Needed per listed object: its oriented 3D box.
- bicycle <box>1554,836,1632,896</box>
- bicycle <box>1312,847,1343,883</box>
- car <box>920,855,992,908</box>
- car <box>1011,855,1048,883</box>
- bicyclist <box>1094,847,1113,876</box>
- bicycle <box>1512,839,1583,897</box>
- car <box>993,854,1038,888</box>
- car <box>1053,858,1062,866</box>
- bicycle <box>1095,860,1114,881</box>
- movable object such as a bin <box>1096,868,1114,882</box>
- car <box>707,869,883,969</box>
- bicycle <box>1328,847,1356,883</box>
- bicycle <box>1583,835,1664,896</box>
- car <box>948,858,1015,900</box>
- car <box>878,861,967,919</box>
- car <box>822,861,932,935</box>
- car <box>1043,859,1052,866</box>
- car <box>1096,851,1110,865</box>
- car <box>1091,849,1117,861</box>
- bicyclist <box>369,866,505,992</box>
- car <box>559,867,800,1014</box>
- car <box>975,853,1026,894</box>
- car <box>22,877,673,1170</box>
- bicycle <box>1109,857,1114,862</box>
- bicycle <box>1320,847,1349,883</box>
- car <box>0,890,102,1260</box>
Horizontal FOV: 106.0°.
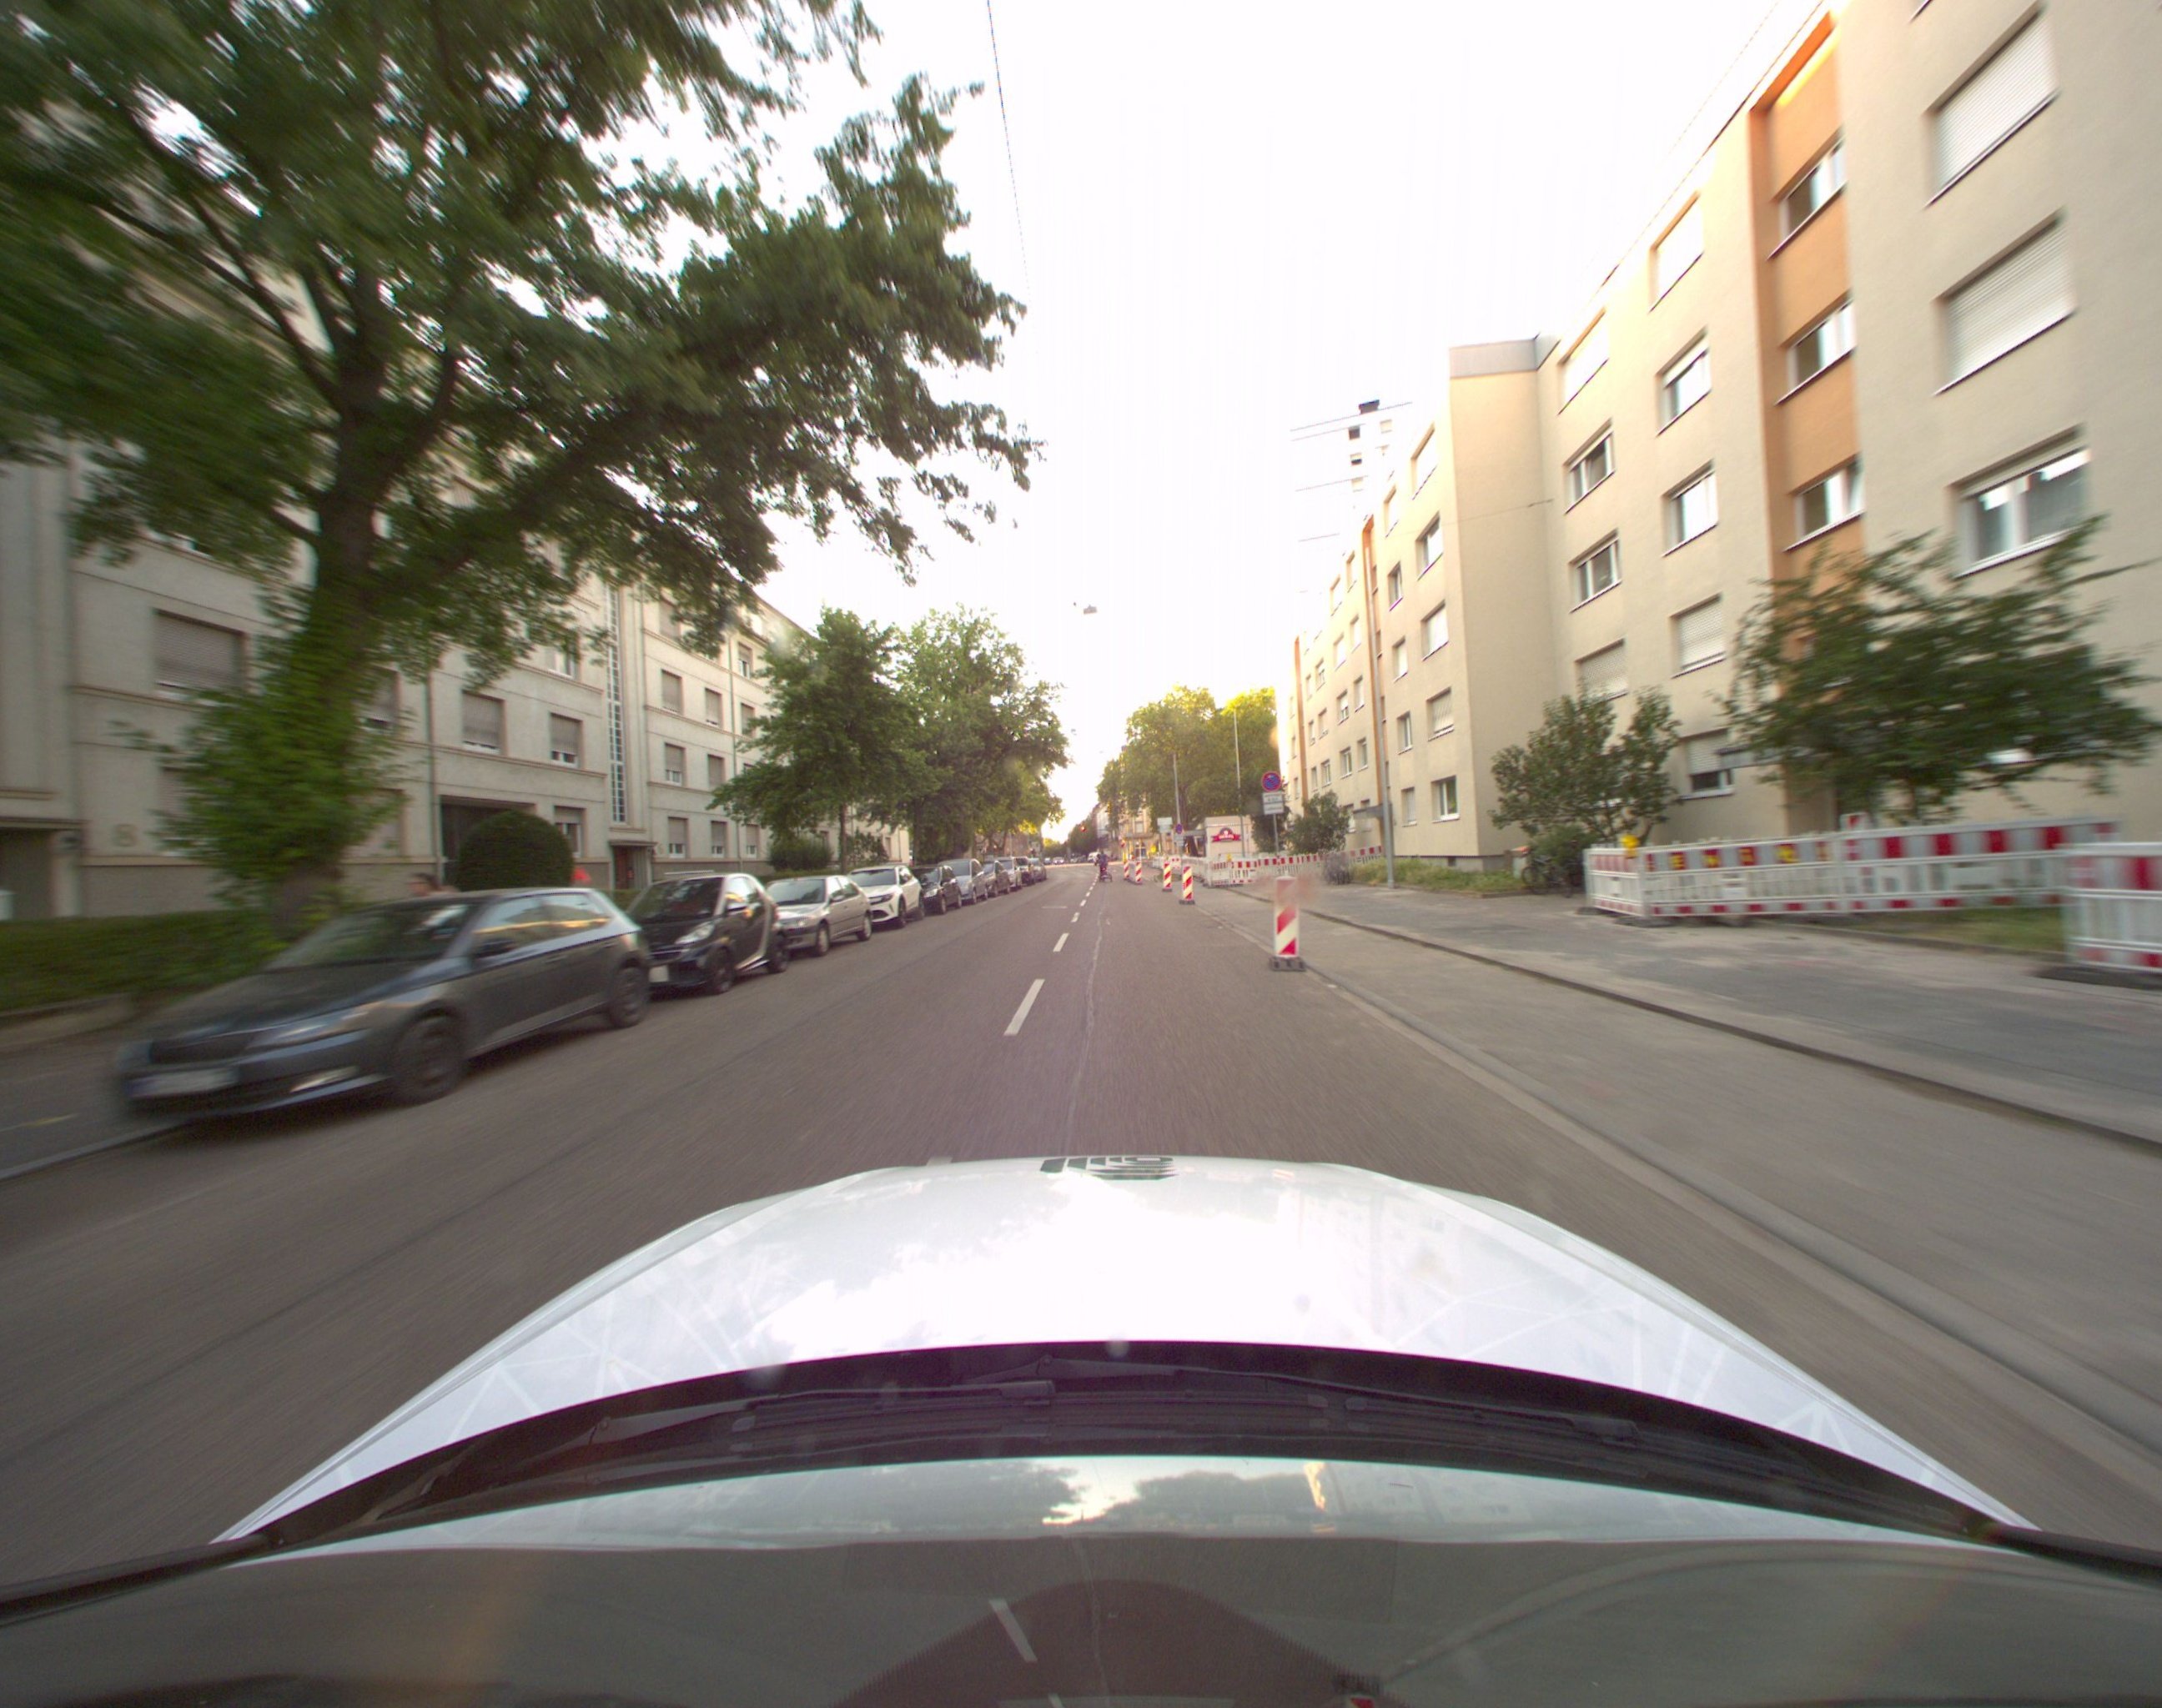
[{"bbox_3d":[10.642,0.244,16.999,0.553,1.172,1.819,-3,0,5],"label":"bicycle"},{"bbox_3d":[8.804,0.399,29.144,0.450,1.222,1.911,-3,0,0],"label":"bicycle"},{"bbox_3d":[-4.424,0.942,29.451,1.701,1.600,4.118,-6,0,2],"label":"car"},{"bbox_3d":[-3.440,0.967,54.836,1.946,1.616,4.606,-5,0,1],"label":"car"},{"bbox_3d":[1.334,0.444,48.261,0.936,1.581,1.146,-5,-1,0],"label":"bicyclist"},{"bbox_3d":[9.933,0.285,17.412,0.553,1.172,1.819,-3,0,5],"label":"bicycle"},{"bbox_3d":[-3.721,0.956,46.967,1.947,1.719,4.772,-5,0,1],"label":"car"},{"bbox_3d":[-5.309,1.795,185.694,1.779,1.651,3.813,-1,-1,-6],"label":"car"},{"bbox_3d":[1.385,0.975,48.233,0.936,1.172,2.358,-5,-1,0],"label":"bicycle"},{"bbox_3d":[1.388,1.187,46.554,0.936,0.689,0.993,-5,-1,0],"label":"movable object such as a bin"},{"bbox_3d":[-5.153,1.094,15.317,1.584,1.404,4.183,-6,0,2],"label":"car"},{"bbox_3d":[9.328,0.385,29.156,0.396,1.222,1.826,-2,0,0],"label":"bicycle"},{"bbox_3d":[11.238,0.229,16.935,0.553,1.172,1.819,-3,0,5],"label":"bicycle"},{"bbox_3d":[-4.096,0.987,34.252,1.724,1.497,4.277,-5,0,6],"label":"car"},{"bbox_3d":[-4.761,1.051,25.038,1.701,1.452,3.845,-6,0,2],"label":"car"},{"bbox_3d":[-5.025,1.018,20.630,1.585,1.538,4.205,-6,0,0],"label":"car"},{"bbox_3d":[-8.814,2.248,215.413,1.991,1.651,3.813,-1,-1,-6],"label":"car"},{"bbox_3d":[3.162,0.605,118.744,1.860,1.815,4.000,-4,0,0],"label":"car"},{"bbox_3d":[5.187,0.174,180.997,5.855,2.288,2.047,-3,0,-41],"label":"car"},{"bbox_3d":[-7.725,0.870,9.820,0.805,1.404,0.974,-2,0,1],"label":"bicyclist"},{"bbox_3d":[-5.203,1.023,11.025,1.518,1.529,3.164,-6,0,0],"label":"car"},{"bbox_3d":[-3.865,0.905,39.712,1.841,1.690,4.858,-5,0,0],"label":"car"},{"bbox_3d":[-5.318,1.043,6.814,1.585,1.466,4.101,-6,0,0],"label":"car"},{"bbox_3d":[6.694,1.267,176.864,0.540,0.968,1.929,-3,0,16],"label":"bicycle"},{"bbox_3d":[9.081,0.393,29.229,0.396,1.222,1.911,-2,0,0],"label":"bicycle"},{"bbox_3d":[-5.427,1.006,2.301,1.583,1.529,2.924,-6,0,4],"label":"car"}]
